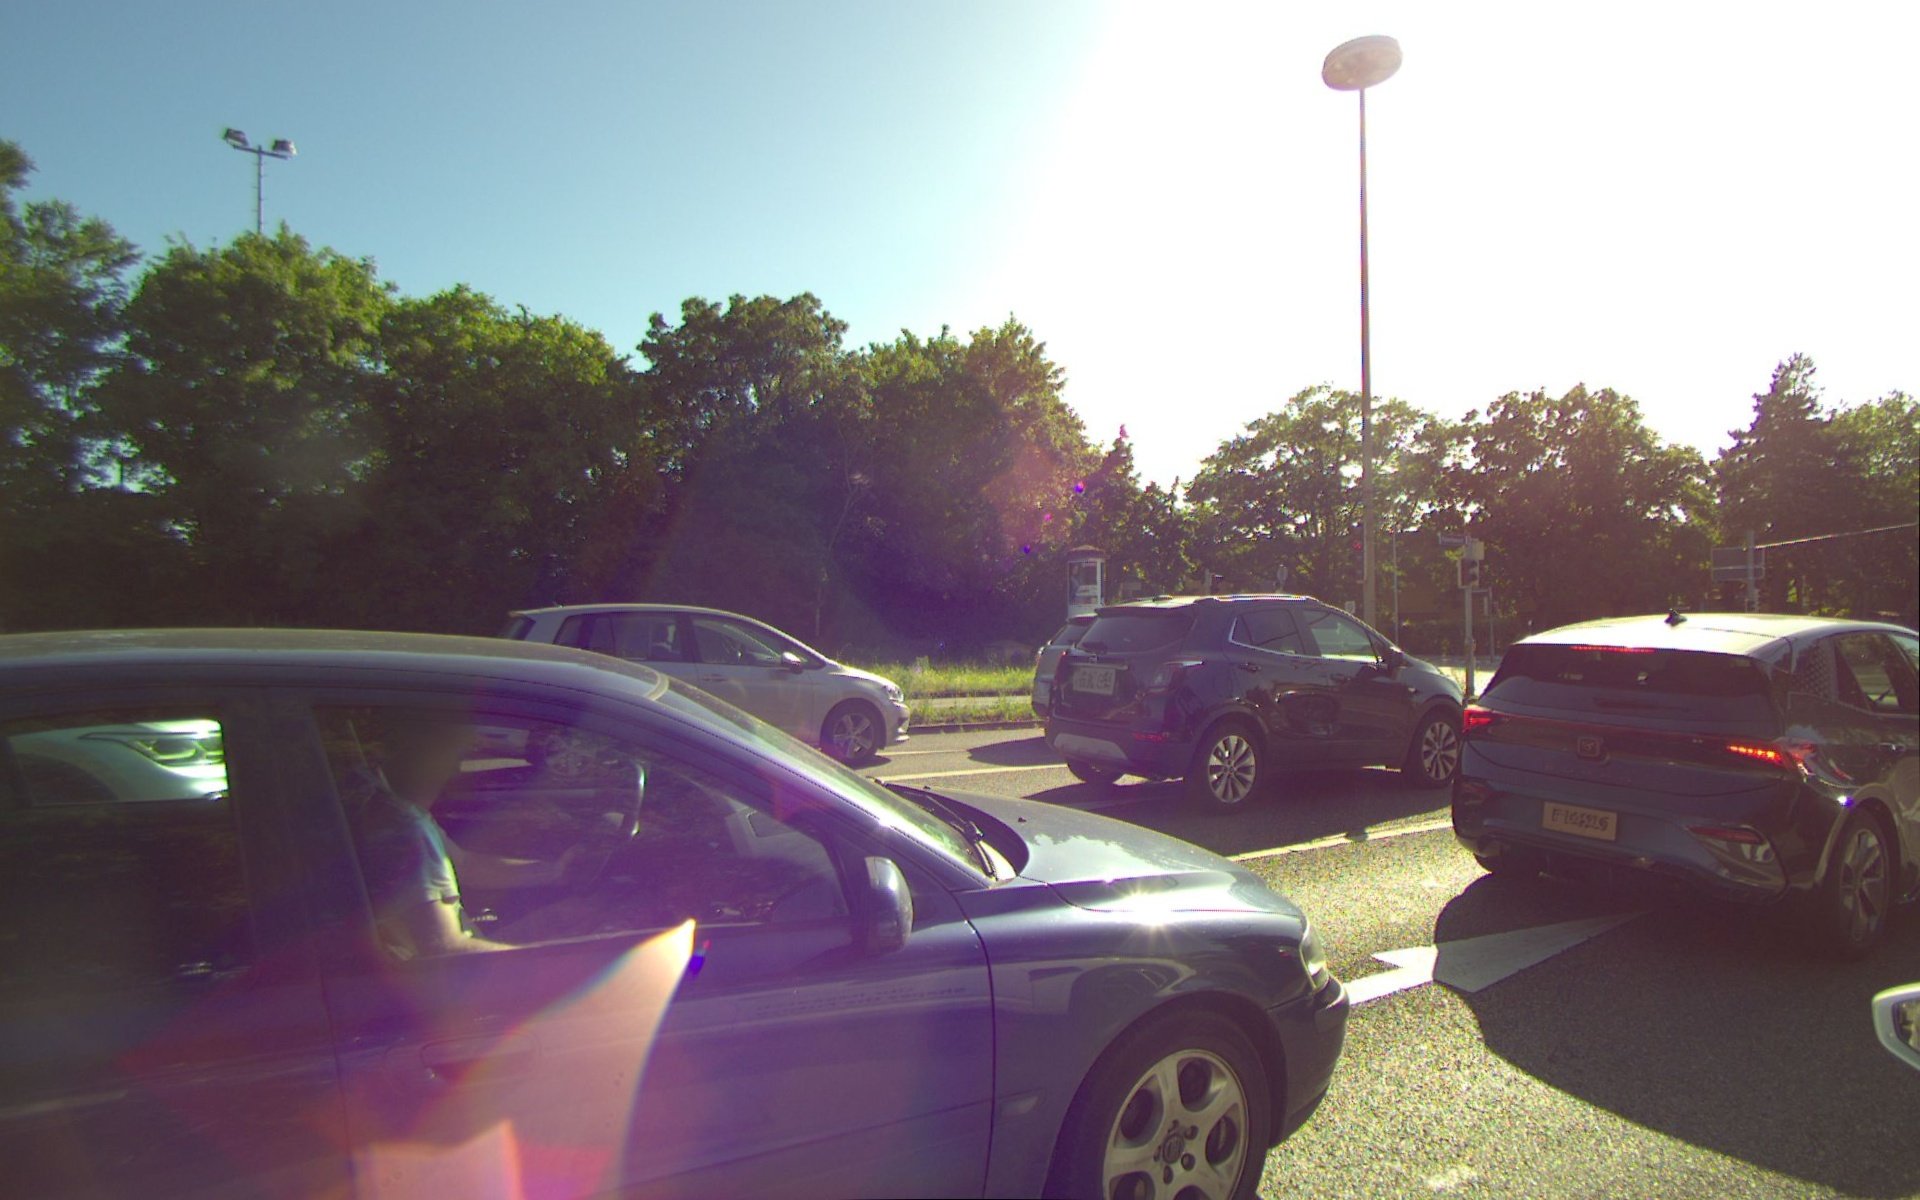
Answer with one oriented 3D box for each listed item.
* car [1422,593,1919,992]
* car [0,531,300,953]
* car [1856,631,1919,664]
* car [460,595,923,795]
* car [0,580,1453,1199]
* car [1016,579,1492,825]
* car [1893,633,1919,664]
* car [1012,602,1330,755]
[{"bbox_3d":[4.740,0.826,5.819,4.158,1.601,1.676,2,-1,-30],"label":"car"},{"bbox_3d":[-5.555,0.589,4.331,4.373,1.732,1.984,1,-2,-30],"label":"car"},{"bbox_3d":[44.729,2.261,48.039,3.956,1.529,1.678,1,-2,-30],"label":"car"},{"bbox_3d":[-2.613,0.833,10.008,4.156,1.632,1.822,1,-2,-30],"label":"car"},{"bbox_3d":[-1.096,0.724,2.204,4.404,1.471,1.767,2,0,-30],"label":"car"},{"bbox_3d":[2.620,0.767,8.798,3.953,1.711,1.796,1,-2,-30],"label":"car"},{"bbox_3d":[49.988,2.484,51.839,3.959,1.529,1.677,1,-2,-32],"label":"car"},{"bbox_3d":[2.810,0.951,13.185,3.956,1.724,1.820,1,-2,-32],"label":"car"}]
